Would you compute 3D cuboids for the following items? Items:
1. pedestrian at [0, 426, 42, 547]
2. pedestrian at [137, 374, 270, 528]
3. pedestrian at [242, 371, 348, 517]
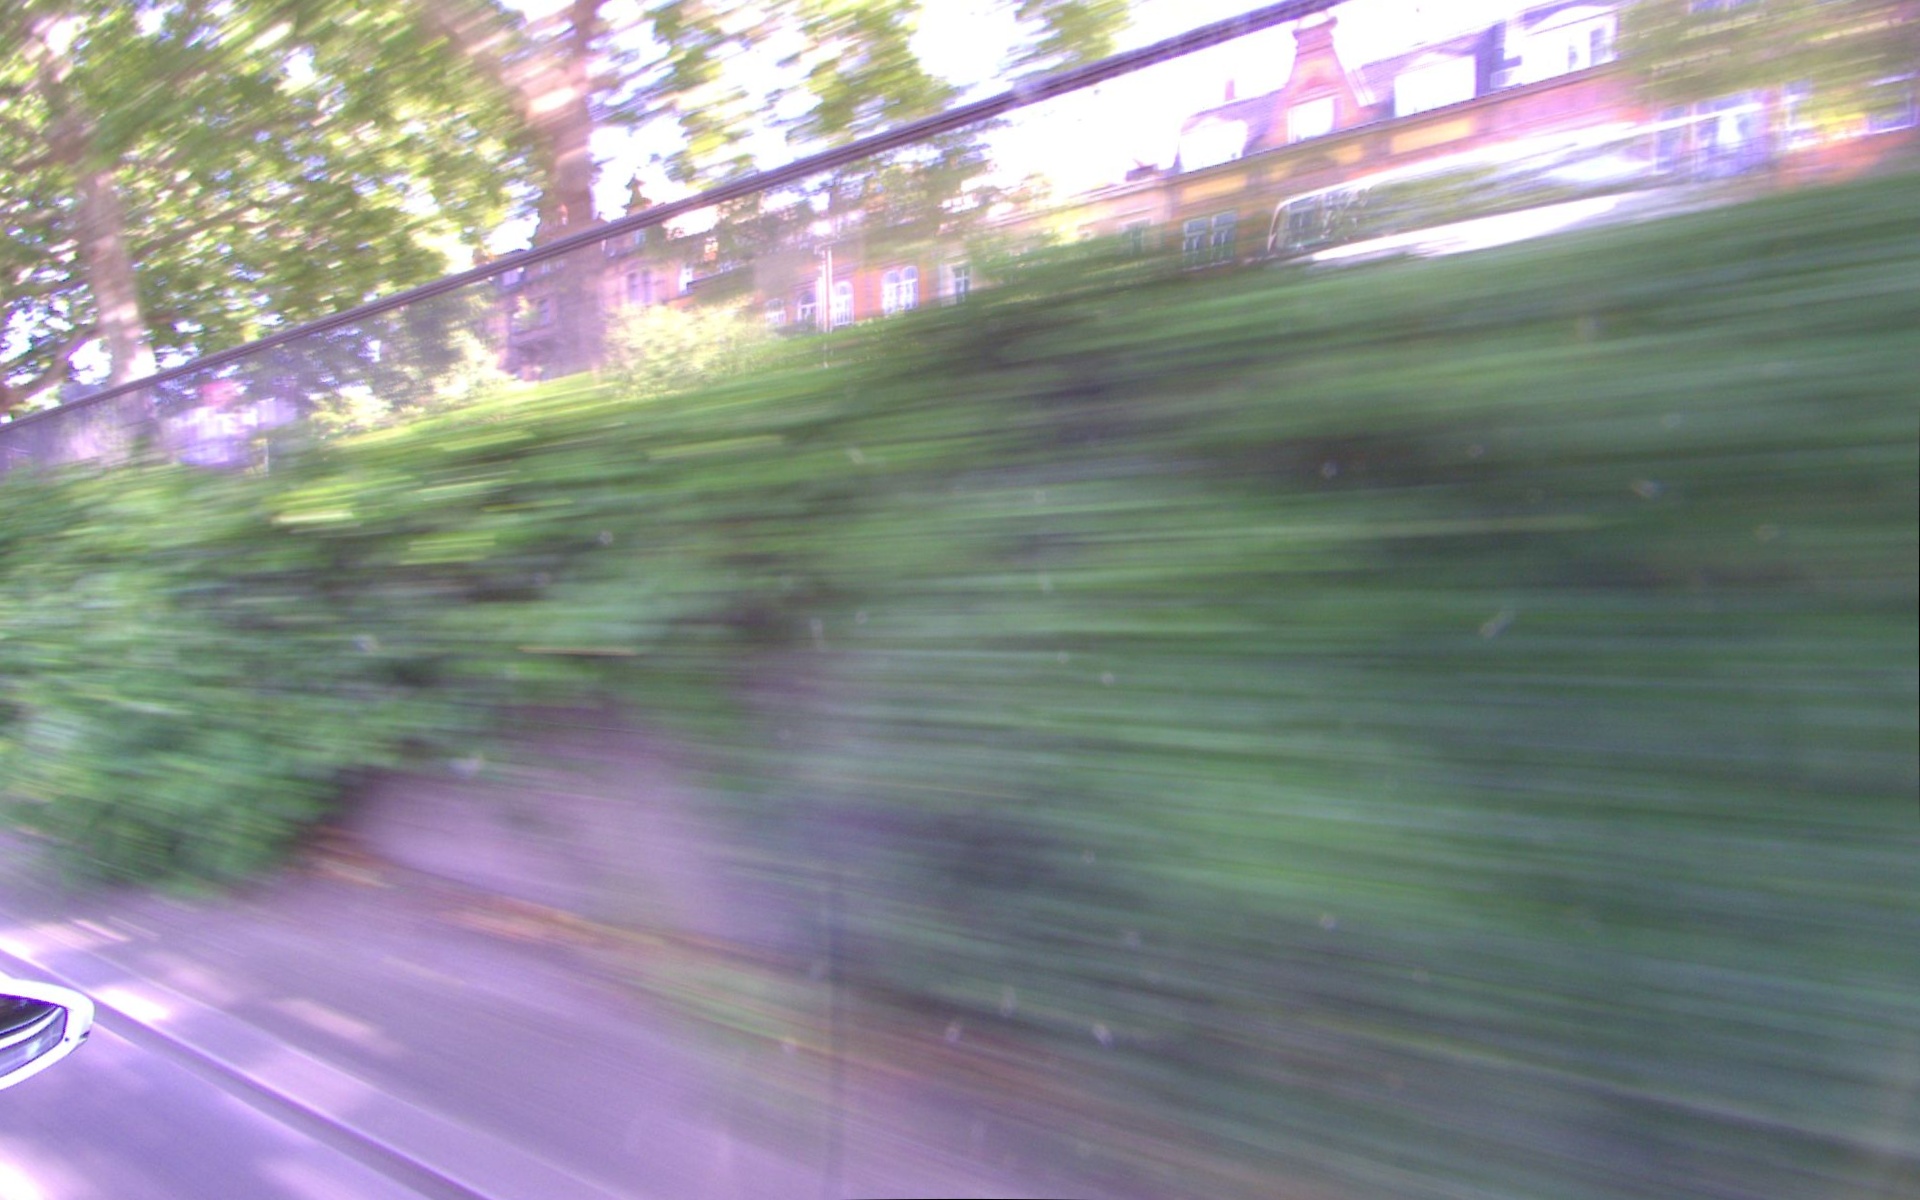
[{"bbox_3d":[-13.613,-1.599,14.184,0.616,1.662,0.646,0,2,24],"label":"pedestrian"},{"bbox_3d":[-6.868,-1.314,9.103,0.731,1.261,0.709,0,2,31],"label":"pedestrian"},{"bbox_3d":[-6.326,-1.455,9.532,0.681,1.261,0.575,0,2,31],"label":"pedestrian"}]
